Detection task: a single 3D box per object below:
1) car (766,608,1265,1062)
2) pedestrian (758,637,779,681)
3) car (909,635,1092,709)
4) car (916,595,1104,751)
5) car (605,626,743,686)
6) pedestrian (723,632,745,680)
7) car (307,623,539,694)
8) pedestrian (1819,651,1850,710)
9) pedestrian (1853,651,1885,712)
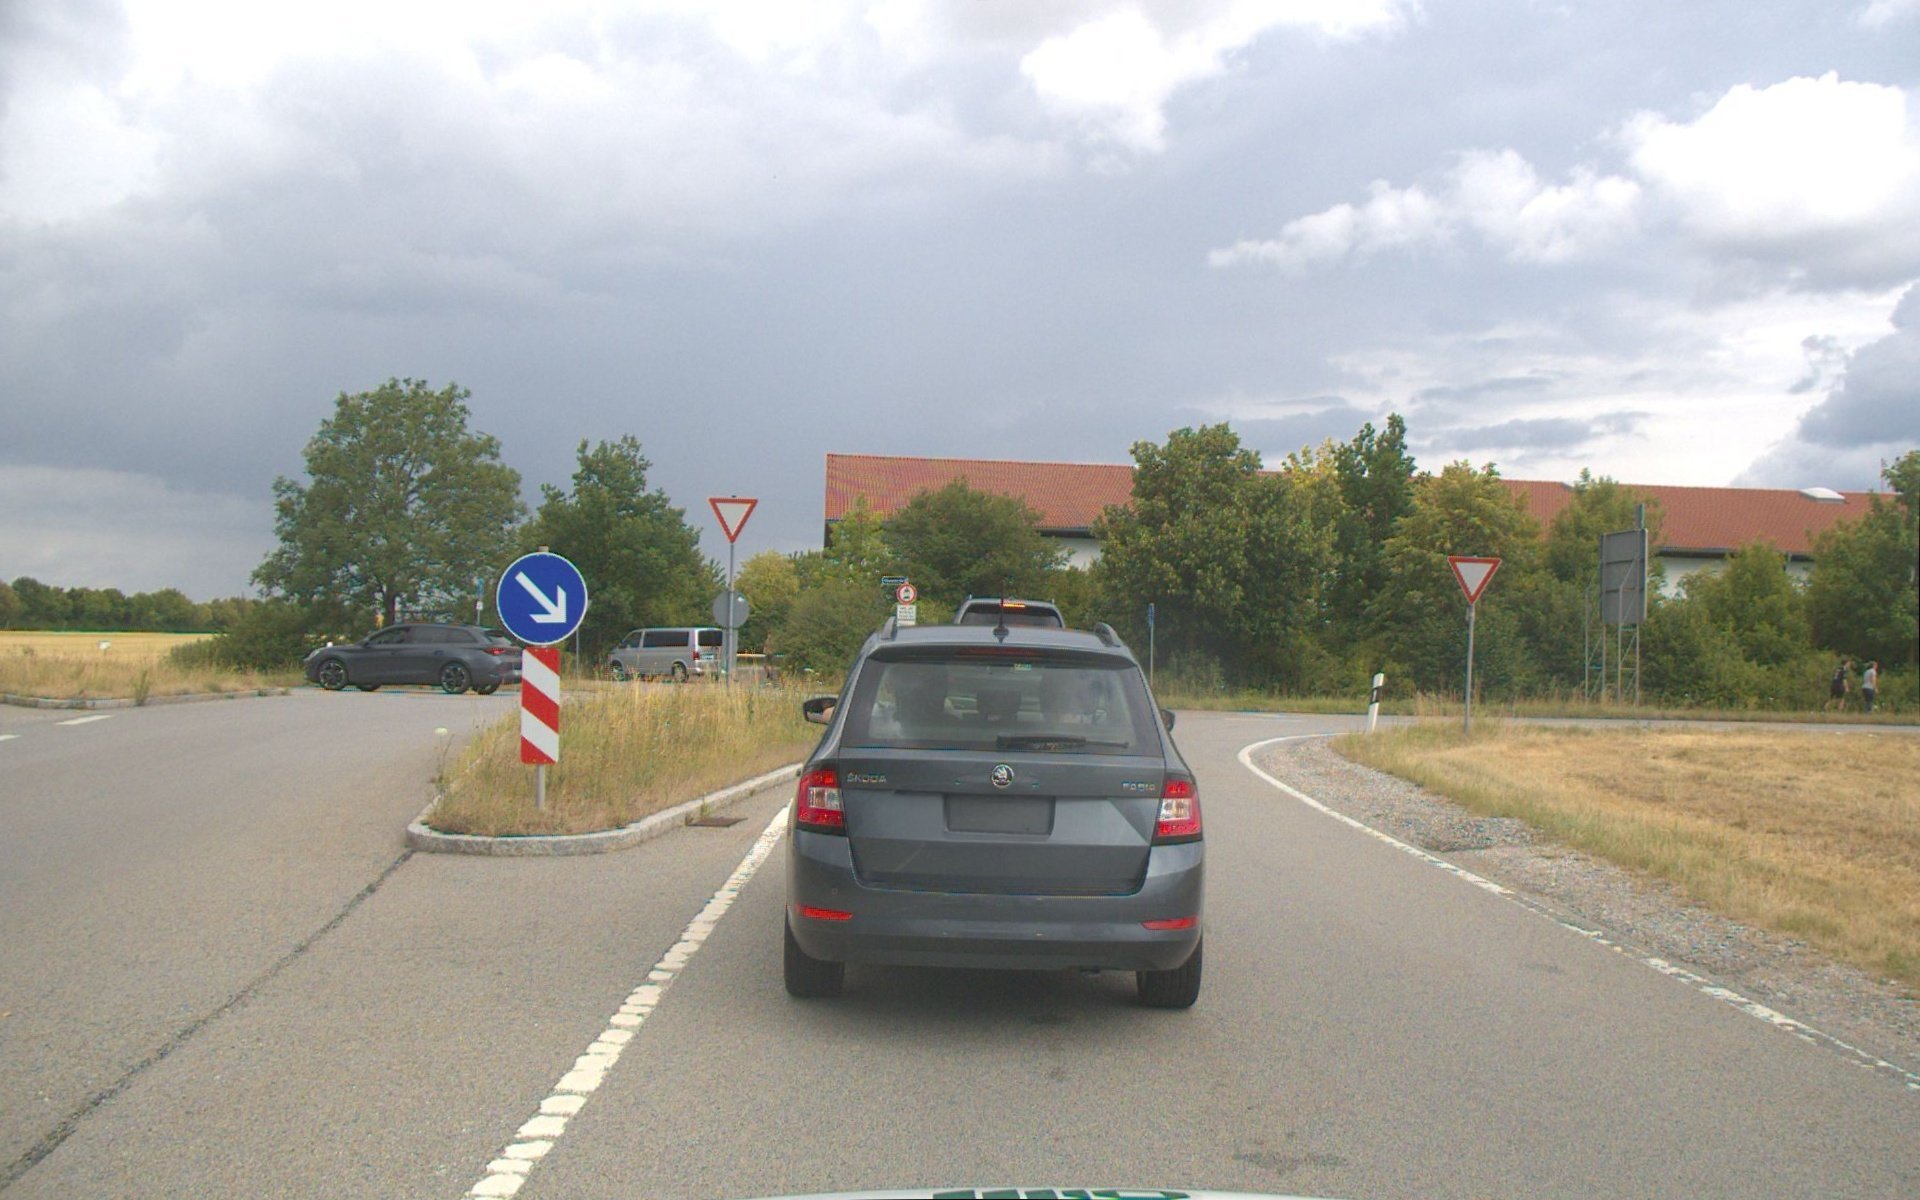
[{"bbox_3d":[0.166,0.799,7.346,1.642,1.488,3.707,1,-1,-1],"label":"car"},{"bbox_3d":[-7.426,2.283,64.166,0.571,1.712,0.566,0,-1,22],"label":"pedestrian"},{"bbox_3d":[0.890,1.649,38.461,4.126,1.629,1.999,0,-1,-3],"label":"car"},{"bbox_3d":[0.538,0.944,21.939,1.954,1.806,4.638,2,-2,-5],"label":"car"},{"bbox_3d":[-10.629,2.030,61.388,4.814,2.049,2.334,0,-1,35],"label":"car"},{"bbox_3d":[-8.332,2.065,60.981,0.519,1.756,0.640,0,-1,33],"label":"pedestrian"},{"bbox_3d":[-11.166,1.204,34.549,4.250,1.368,1.683,1,-1,5],"label":"car"},{"bbox_3d":[25.579,2.346,48.395,0.614,1.712,0.529,1,-1,-10],"label":"pedestrian"},{"bbox_3d":[25.886,2.310,47.115,0.614,1.712,0.529,1,-1,-10],"label":"pedestrian"}]
